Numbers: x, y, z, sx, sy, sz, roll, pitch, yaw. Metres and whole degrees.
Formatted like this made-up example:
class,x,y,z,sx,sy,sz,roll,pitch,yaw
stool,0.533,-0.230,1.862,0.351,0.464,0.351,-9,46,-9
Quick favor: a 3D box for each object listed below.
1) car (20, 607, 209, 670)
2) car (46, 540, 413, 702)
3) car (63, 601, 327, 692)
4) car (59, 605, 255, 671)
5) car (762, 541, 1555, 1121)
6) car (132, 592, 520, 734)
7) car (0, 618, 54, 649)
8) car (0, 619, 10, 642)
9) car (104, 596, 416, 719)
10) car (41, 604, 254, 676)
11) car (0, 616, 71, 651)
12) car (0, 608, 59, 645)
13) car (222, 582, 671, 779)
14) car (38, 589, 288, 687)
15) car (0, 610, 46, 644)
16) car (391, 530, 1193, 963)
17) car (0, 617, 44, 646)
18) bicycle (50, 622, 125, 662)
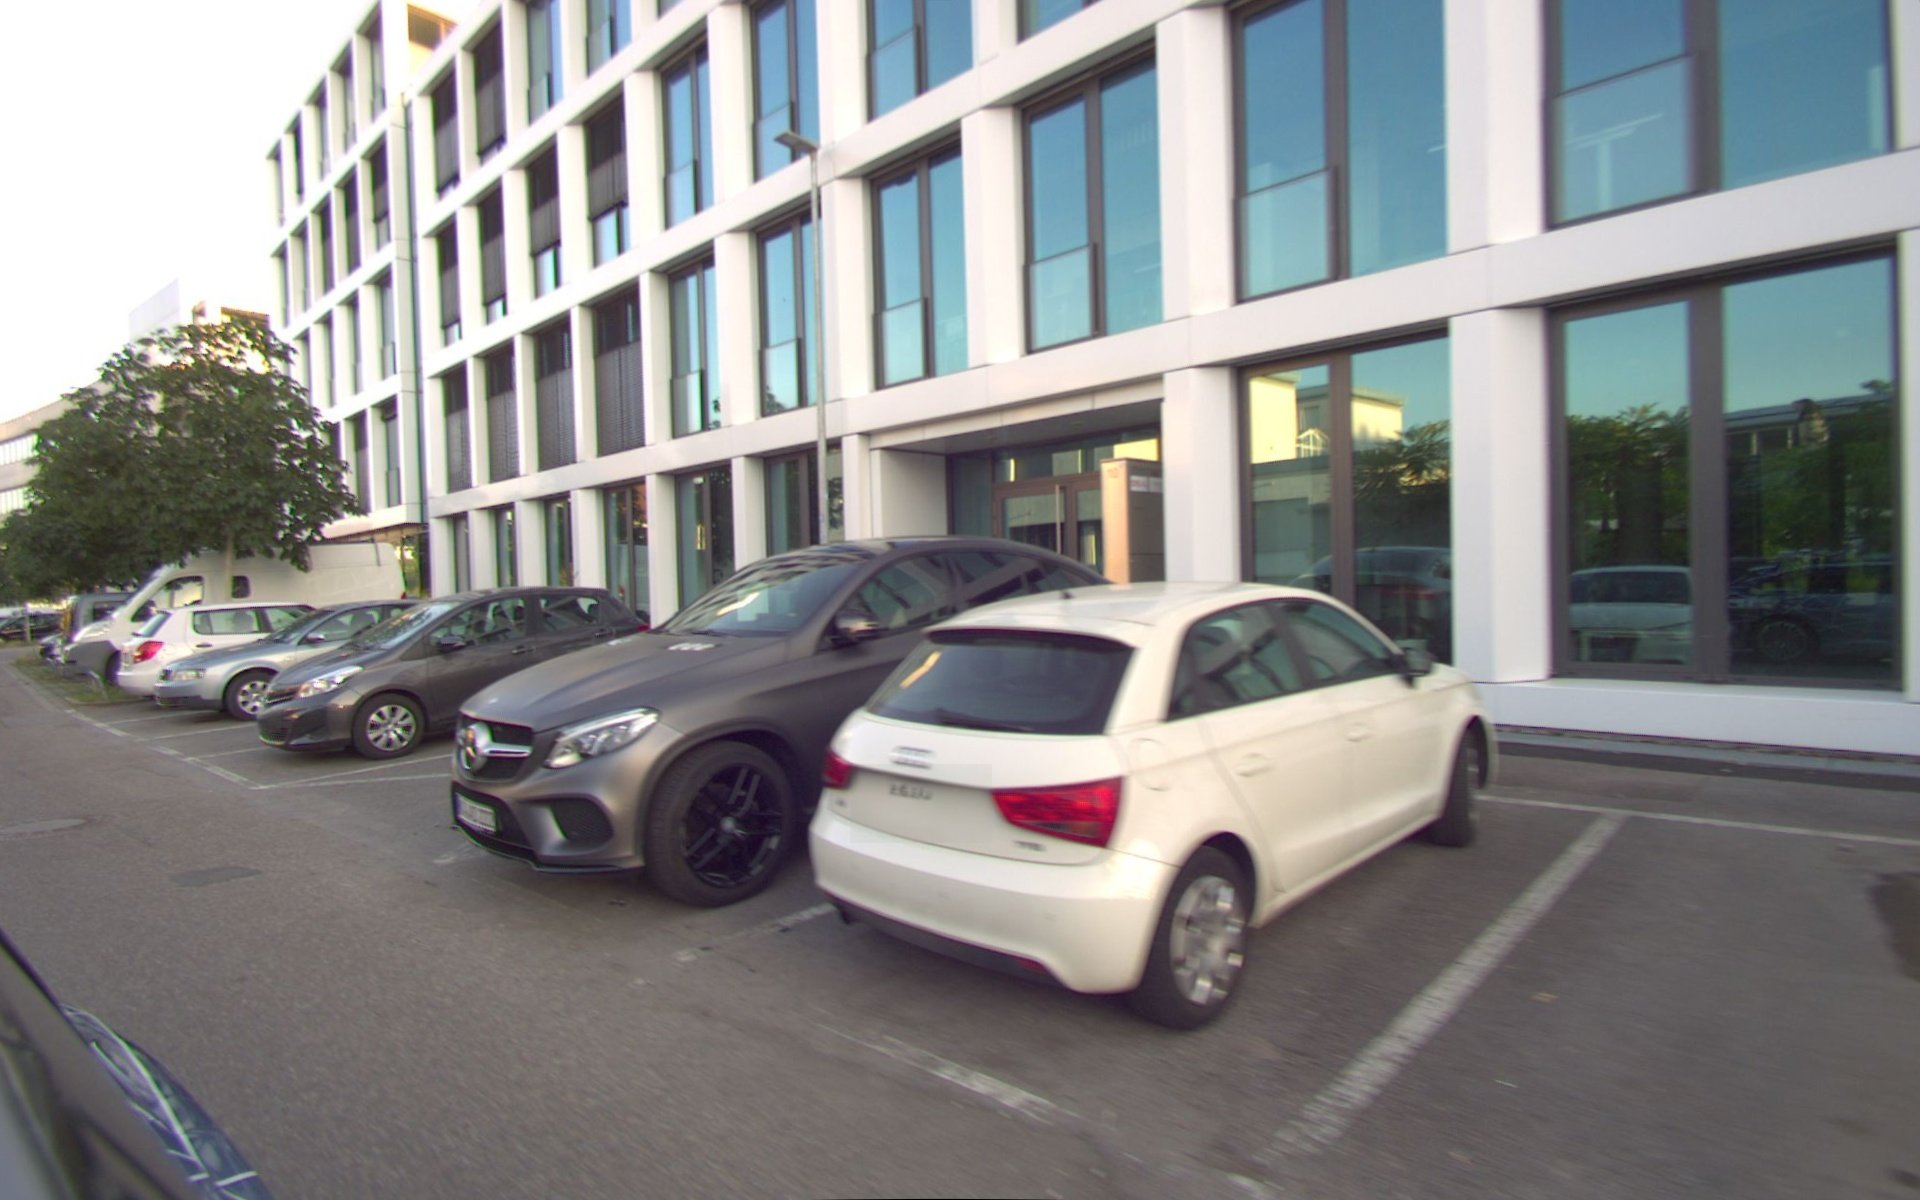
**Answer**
class,x,y,z,sx,sy,sz,roll,pitch,yaw
car,-25.180,1.097,30.256,1.844,1.530,4.066,-2,1,41
car,-13.774,0.253,19.389,2.079,2.652,5.322,-2,2,44
car,-15.915,0.904,21.234,1.773,1.510,4.069,-2,1,39
car,-22.652,1.026,28.666,1.845,1.530,4.065,-2,2,42
car,1.149,0.563,4.575,3.624,1.522,1.698,-4,2,-44
car,-8.716,0.758,14.195,1.795,1.506,4.260,-2,2,44
car,-49.986,1.807,52.955,1.725,1.435,3.608,-1,3,42
car,-59.702,1.976,60.614,1.796,1.370,3.768,-2,2,36
car,-10.793,0.802,15.783,1.707,1.506,3.668,-2,2,43
car,-21.137,0.986,26.452,1.780,1.530,4.065,-2,2,42
car,-47.816,1.726,51.517,1.725,1.559,3.608,-1,3,42
car,-53.938,1.580,56.553,1.886,1.894,5.024,-2,2,36
car,-5.132,0.673,10.495,1.693,1.533,3.743,-2,1,41
car,-17.806,0.781,22.772,1.814,1.830,4.069,-2,1,39
car,-57.658,1.697,59.841,1.886,1.840,5.024,-2,2,36
car,-0.712,0.493,6.336,4.565,1.719,2.006,-4,2,-44
car,-52.036,1.781,54.629,1.725,1.435,3.609,-1,2,41
bicycle,-26.891,1.278,31.204,0.566,1.073,1.677,-2,2,43
